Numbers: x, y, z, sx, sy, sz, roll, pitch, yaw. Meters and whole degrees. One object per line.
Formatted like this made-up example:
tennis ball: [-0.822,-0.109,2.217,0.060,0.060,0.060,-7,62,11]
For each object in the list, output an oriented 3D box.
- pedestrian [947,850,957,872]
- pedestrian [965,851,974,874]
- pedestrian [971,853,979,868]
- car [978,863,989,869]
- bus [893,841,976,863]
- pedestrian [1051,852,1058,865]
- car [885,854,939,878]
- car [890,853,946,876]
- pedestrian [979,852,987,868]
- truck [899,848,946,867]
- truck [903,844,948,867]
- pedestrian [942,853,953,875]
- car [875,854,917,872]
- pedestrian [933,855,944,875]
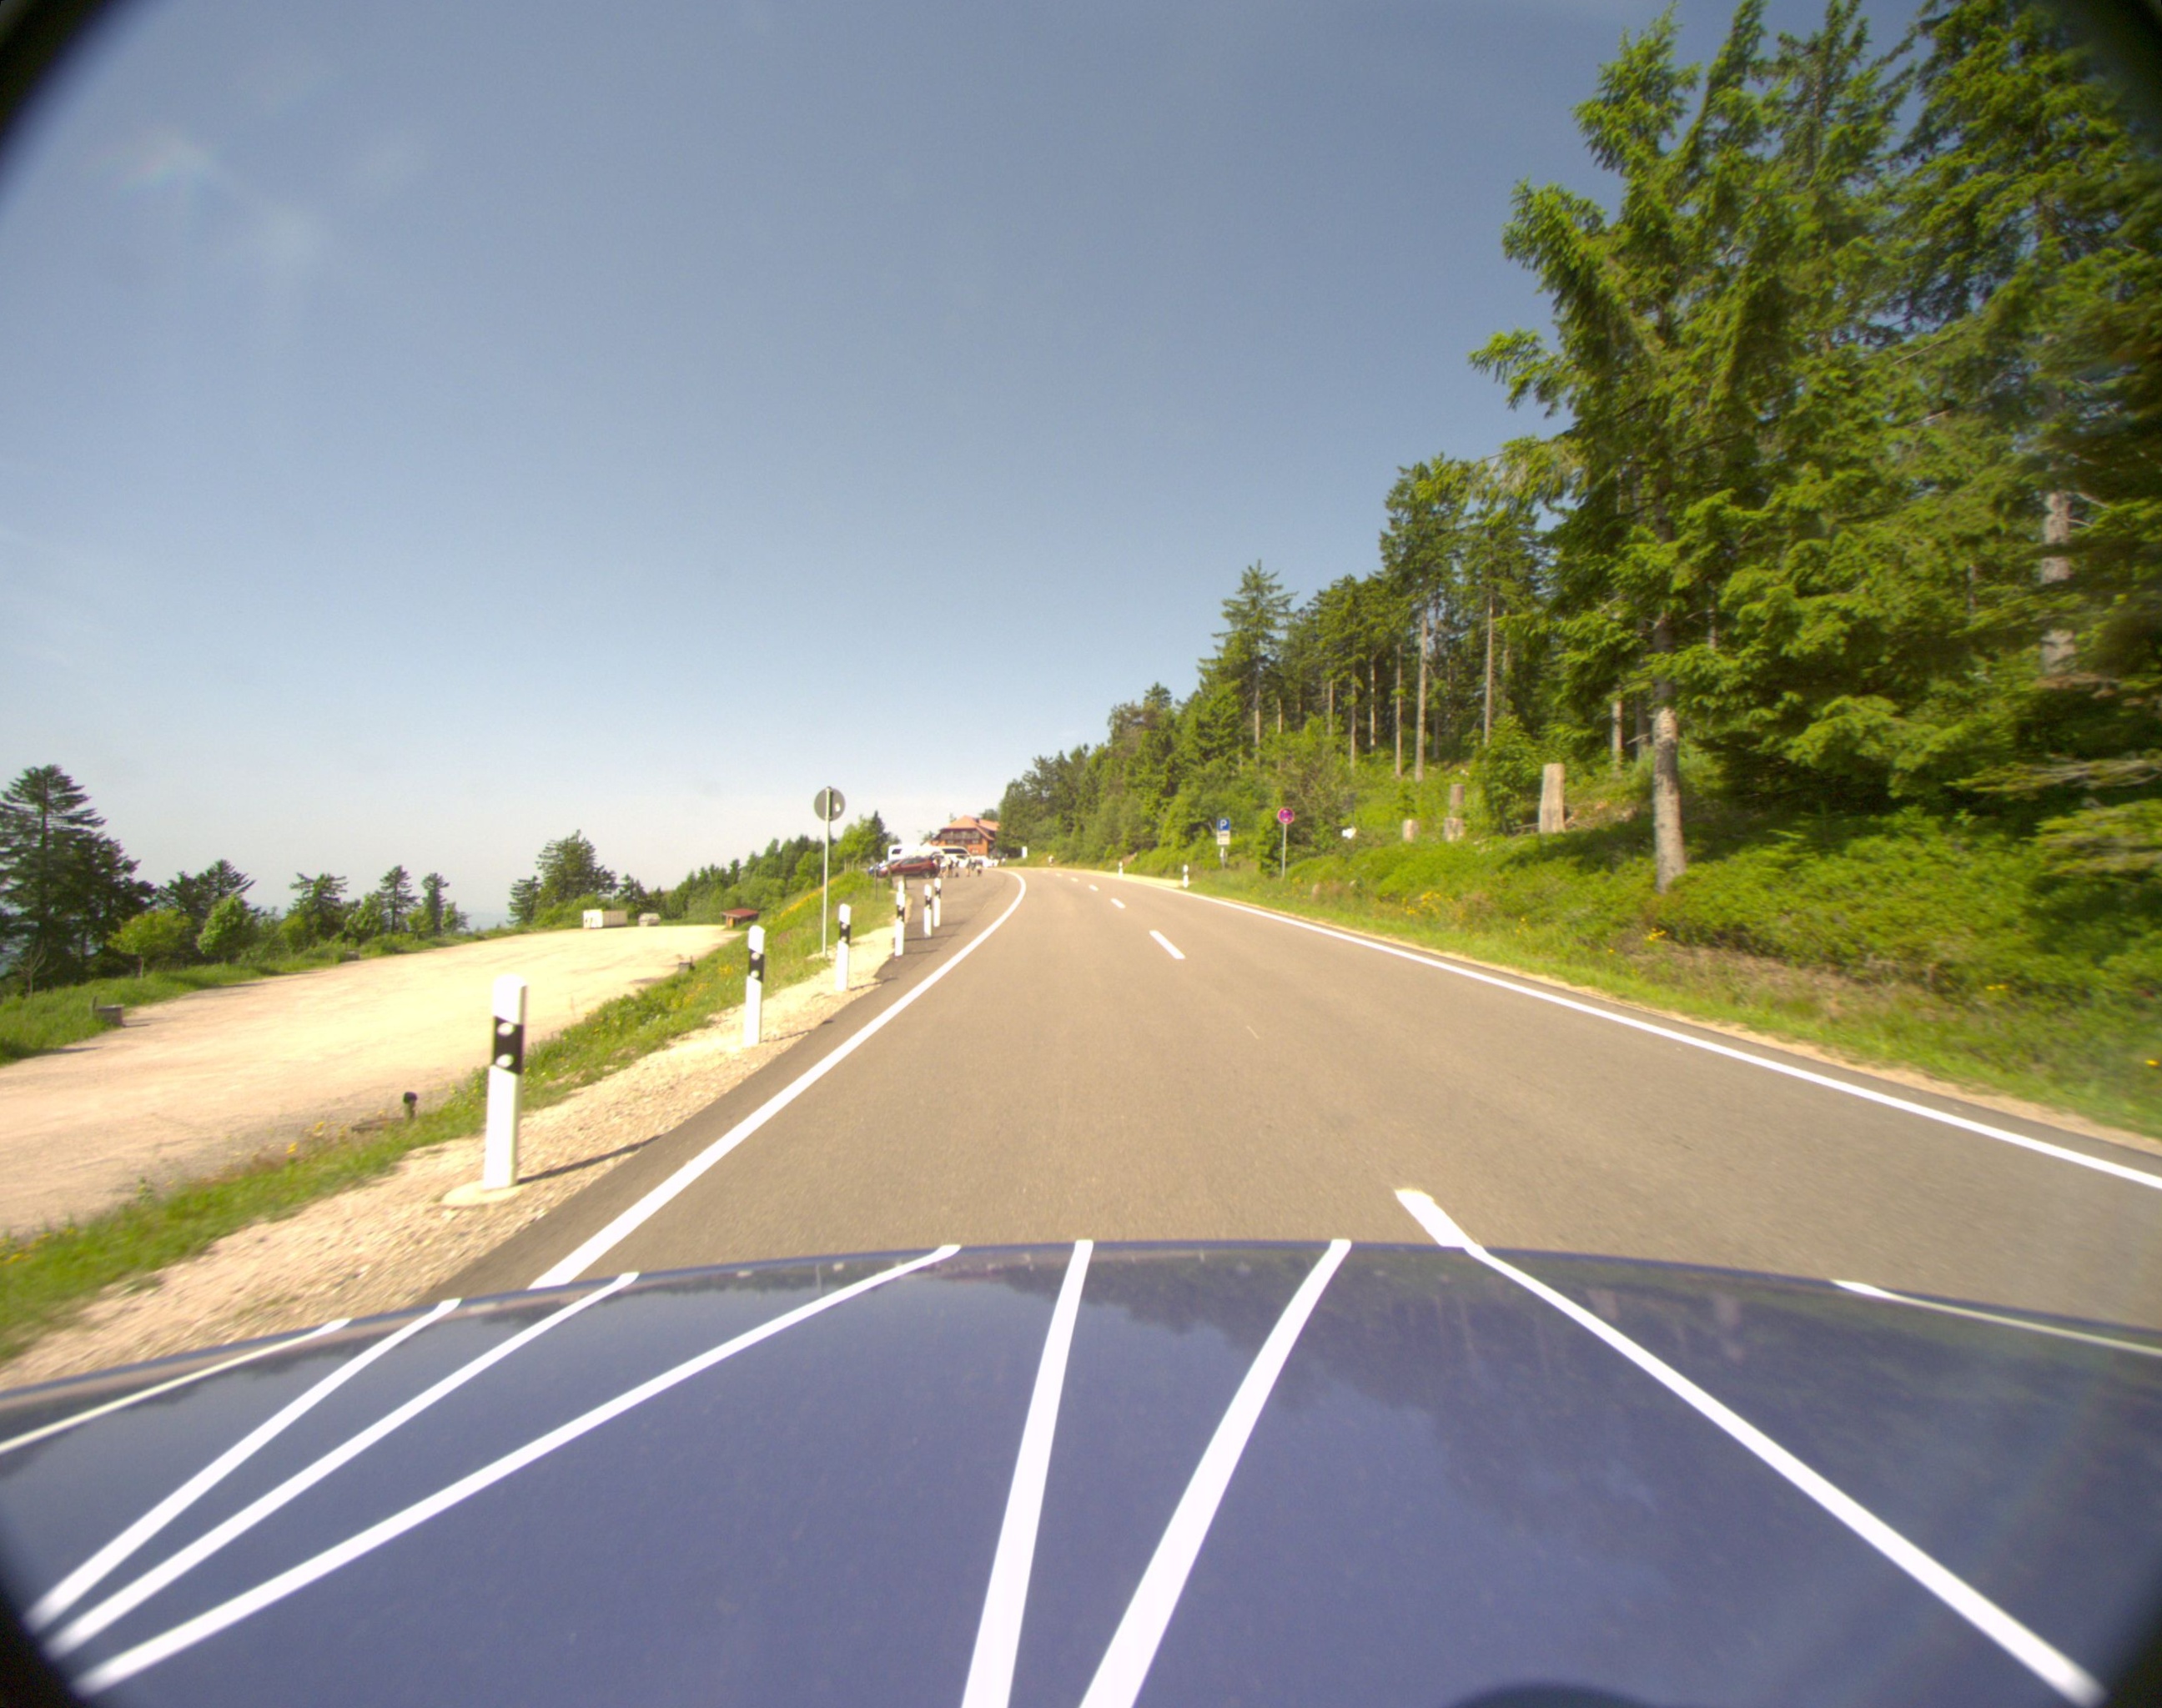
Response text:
pedestrian: [-10.161,0.539,59.865,0.718,1.682,0.618,-1,1,-4]
pedestrian: [-8.724,0.638,59.600,0.618,1.765,0.723,-1,1,-4]
pedestrian: [-12.098,0.752,86.761,0.666,1.730,0.894,0,0,3]
car: [-25.946,3.100,202.124,1.711,1.543,3.139,0,-1,18]
bus: [-23.522,-0.300,122.229,12.891,3.556,2.836,0,0,-10]
pedestrian: [-3.664,0.586,103.922,0.685,1.736,0.824,-1,0,-18]
car: [-12.842,0.914,57.730,3.831,1.651,1.650,-2,1,-15]
car: [-13.166,0.834,61.754,4.277,1.783,1.891,-1,1,-7]
pedestrian: [-11.220,0.685,86.839,0.755,1.750,0.775,0,0,3]
truck: [-21.562,0.441,103.653,6.283,2.575,2.338,0,-1,-11]
truck: [-21.859,0.236,106.945,6.086,3.177,2.529,0,0,-13]
pedestrian: [-10.257,0.798,58.327,0.654,1.650,0.688,0,-1,2]
car: [-18.345,0.883,75.397,4.002,1.637,1.598,-3,1,-14]
pedestrian: [-11.139,0.870,59.479,0.618,1.577,0.736,0,-1,9]
